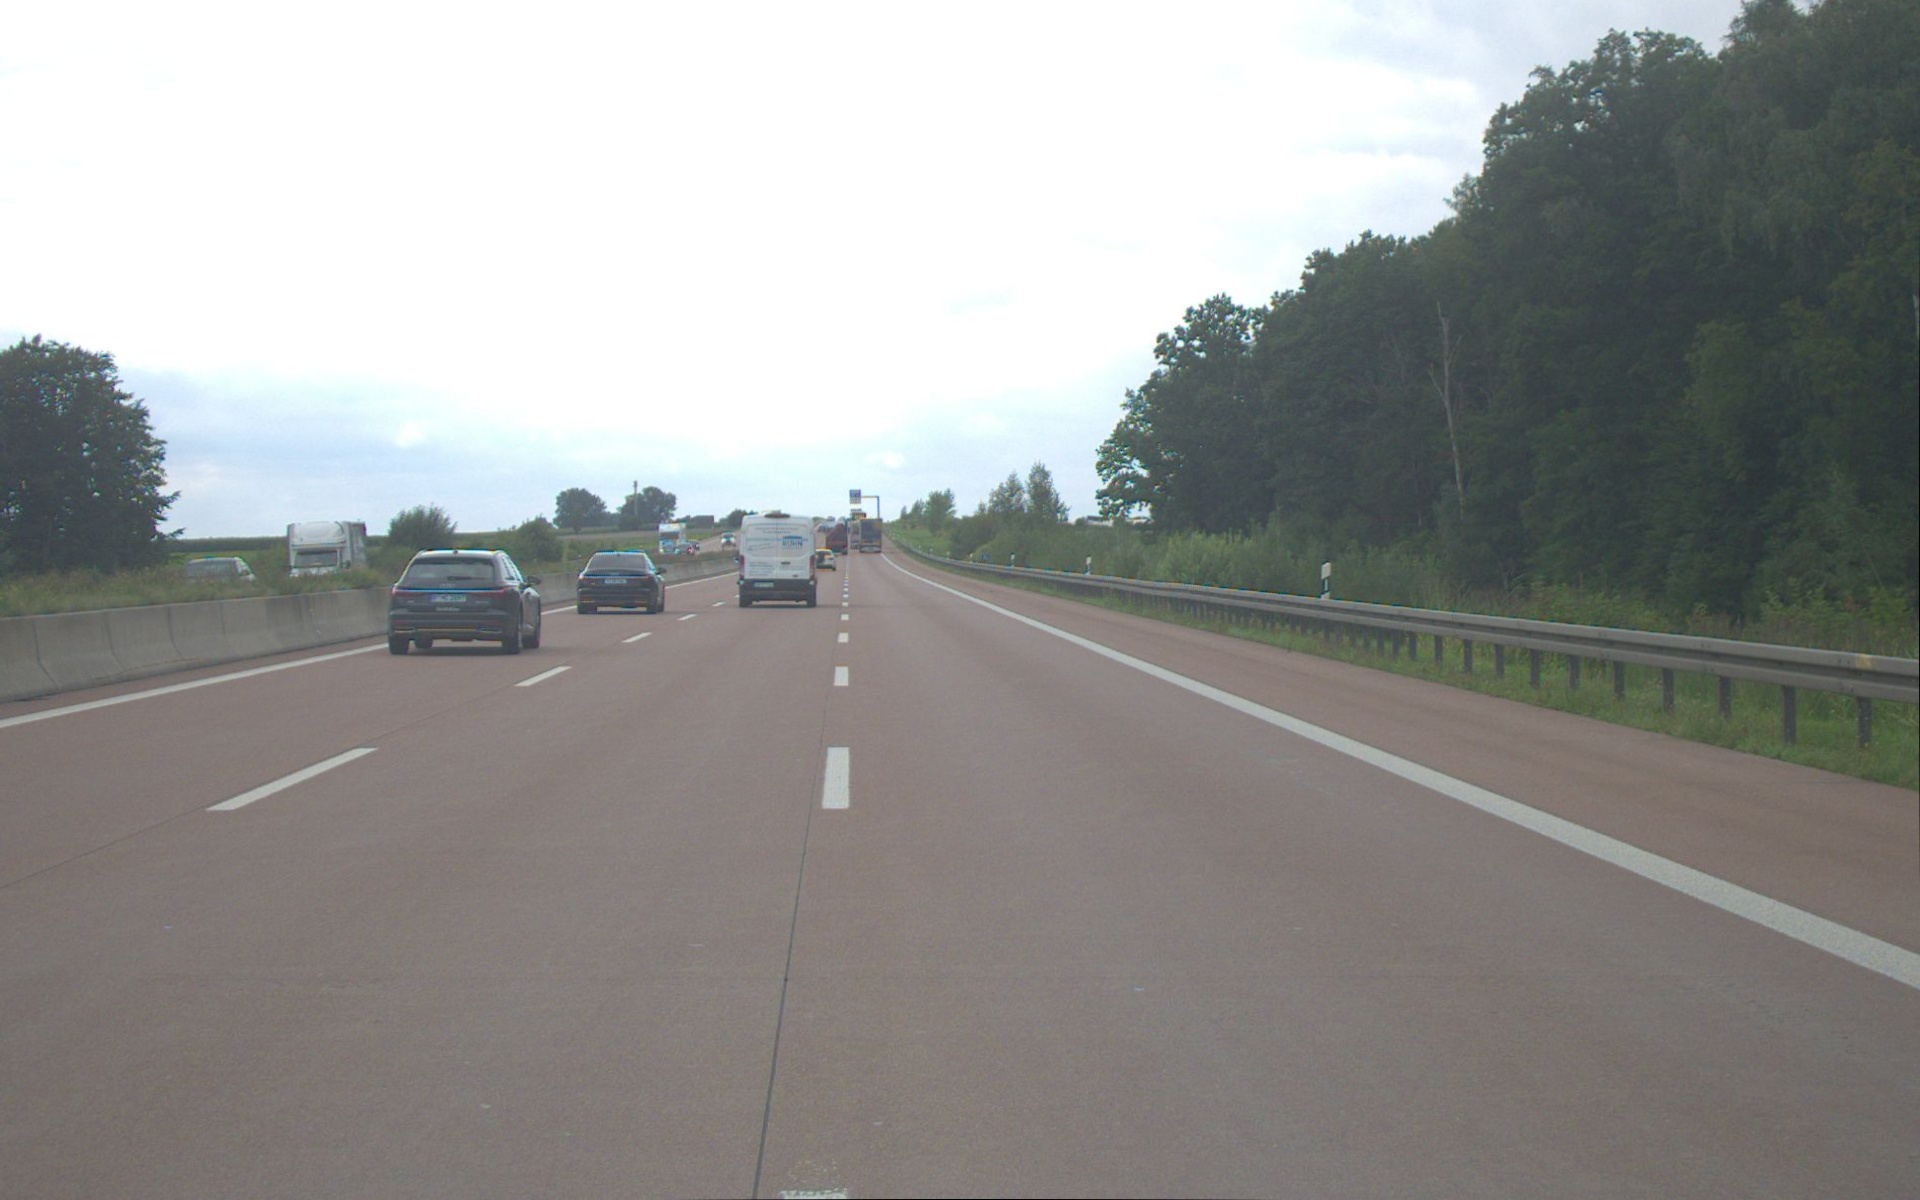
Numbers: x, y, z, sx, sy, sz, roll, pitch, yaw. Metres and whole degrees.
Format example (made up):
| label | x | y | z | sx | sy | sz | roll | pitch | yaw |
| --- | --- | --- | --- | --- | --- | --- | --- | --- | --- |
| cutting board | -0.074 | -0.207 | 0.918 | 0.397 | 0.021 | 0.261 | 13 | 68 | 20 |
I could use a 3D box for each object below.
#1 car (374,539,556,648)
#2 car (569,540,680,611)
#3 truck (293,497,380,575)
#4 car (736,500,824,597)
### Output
| label | x | y | z | sx | sy | sz | roll | pitch | yaw |
| --- | --- | --- | --- | --- | --- | --- | --- | --- | --- |
| car | -7.188 | -0.132 | 50.427 | 2.059 | 1.486 | 5.454 | 0 | 1 | -2 |
| car | -7.937 | -0.613 | 81.769 | 2.085 | 1.545 | 5.674 | 1 | 1 | 0 |
| truck | -25.919 | -2.668 | 143.175 | 2.356 | 3.089 | 7.482 | 2 | 1 | -2 |
| car | -4.774 | -1.421 | 91.987 | 2.137 | 2.498 | 7.132 | 0 | 1 | -1 |
